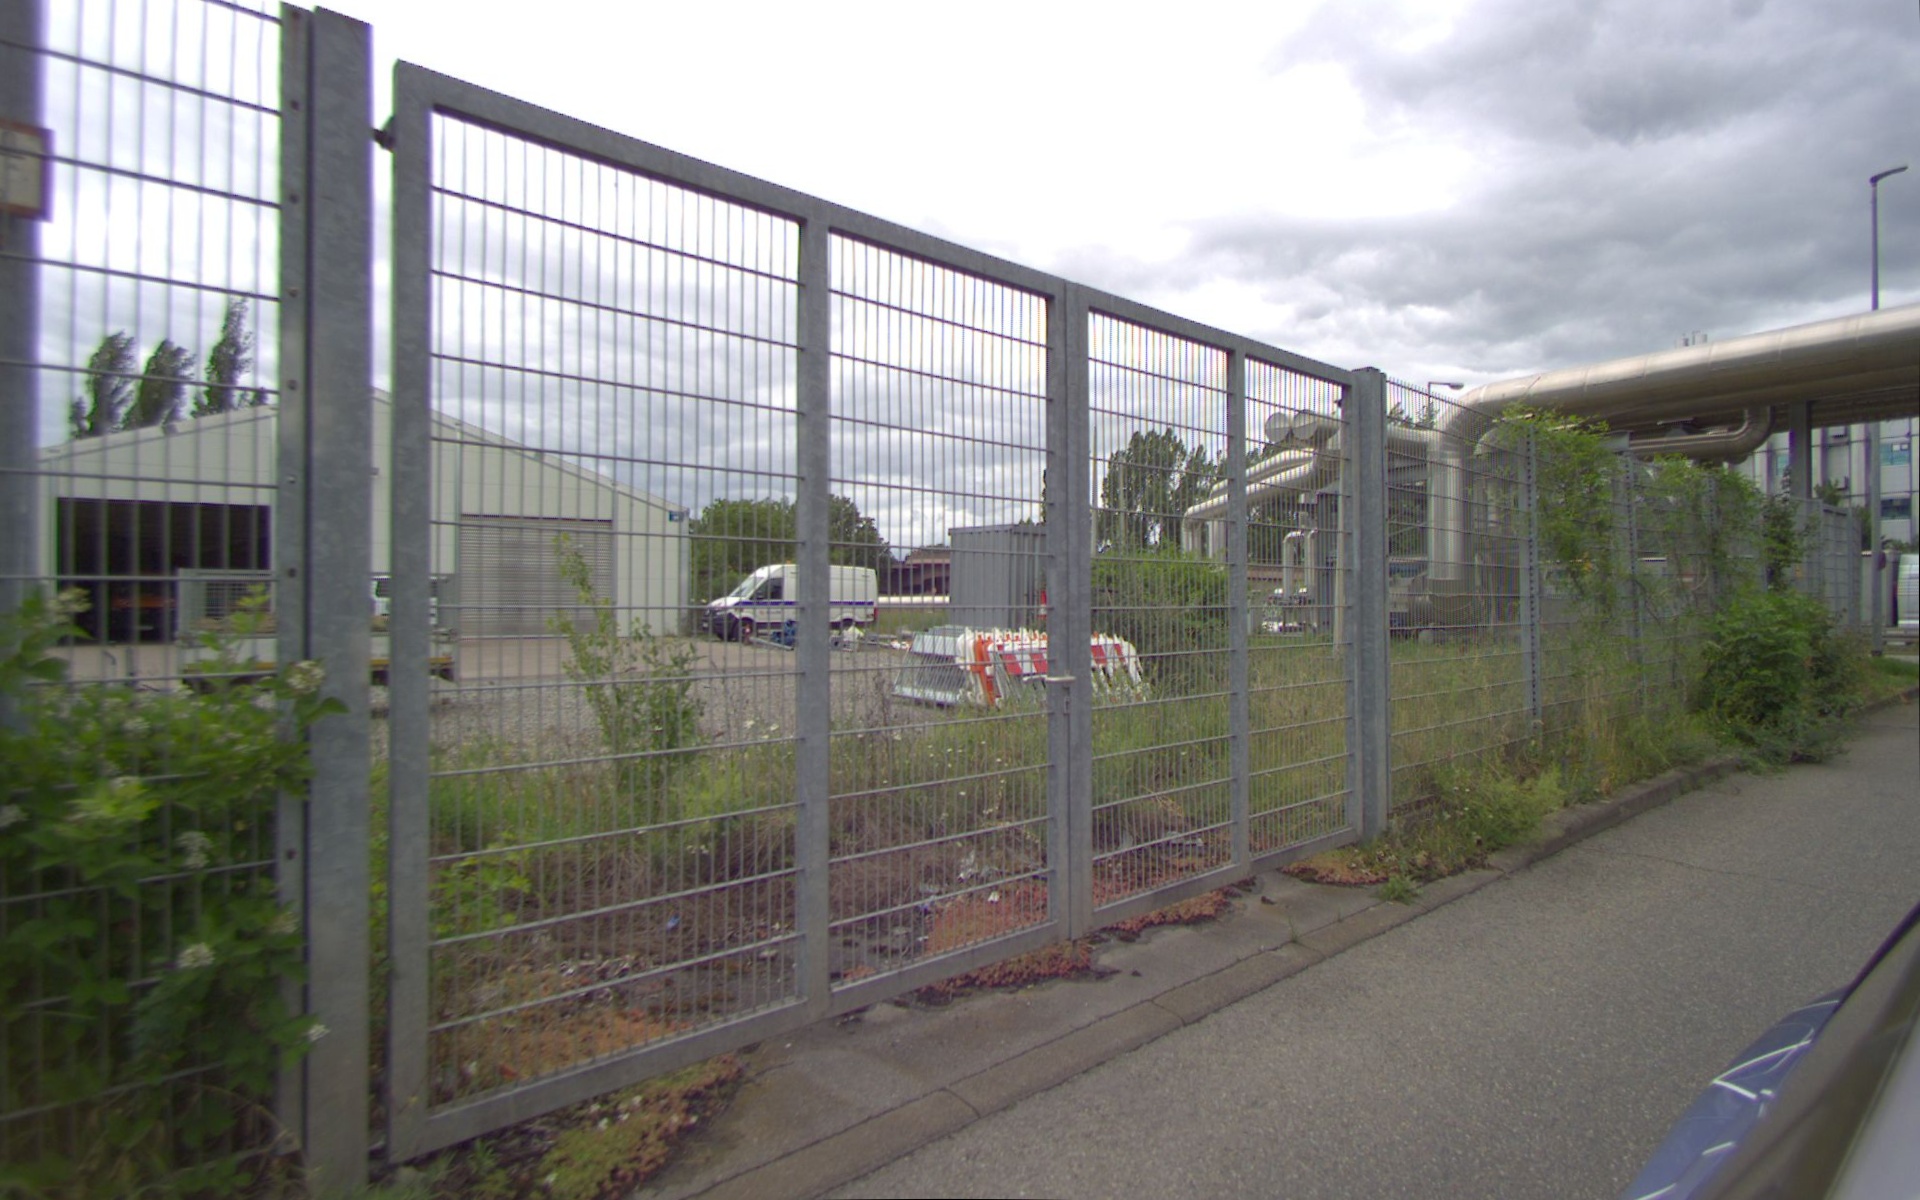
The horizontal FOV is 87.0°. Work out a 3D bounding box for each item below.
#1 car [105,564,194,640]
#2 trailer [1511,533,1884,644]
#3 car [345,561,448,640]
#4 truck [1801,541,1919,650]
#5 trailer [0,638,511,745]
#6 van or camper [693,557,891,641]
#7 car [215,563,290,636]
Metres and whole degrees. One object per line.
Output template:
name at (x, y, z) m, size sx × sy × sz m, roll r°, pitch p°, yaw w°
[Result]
car at (-27.241, 0.057, 34.151) m, size 1.962 × 2.405 × 4.340 m, roll 0°, pitch 0°, yaw -34°
trailer at (32.629, -0.482, 45.772) m, size 3.112 × 4.378 × 13.239 m, roll -2°, pitch 1°, yaw -41°
car at (-15.896, 0.011, 28.455) m, size 1.963 × 2.039 × 4.338 m, roll 0°, pitch 0°, yaw -37°
truck at (38.287, -0.244, 39.434) m, size 3.111 × 4.182 × 8.124 m, roll -3°, pitch 2°, yaw -42°
trailer at (-7.783, 0.931, 11.515) m, size 4.598 × 0.826 × 2.307 m, roll 0°, pitch 0°, yaw -33°
van or camper at (-5.575, -0.037, 33.828) m, size 6.004 × 2.581 × 2.578 m, roll 0°, pitch 0°, yaw -31°
car at (-25.063, -0.014, 35.946) m, size 2.070 × 2.405 × 4.434 m, roll 0°, pitch 0°, yaw -34°
